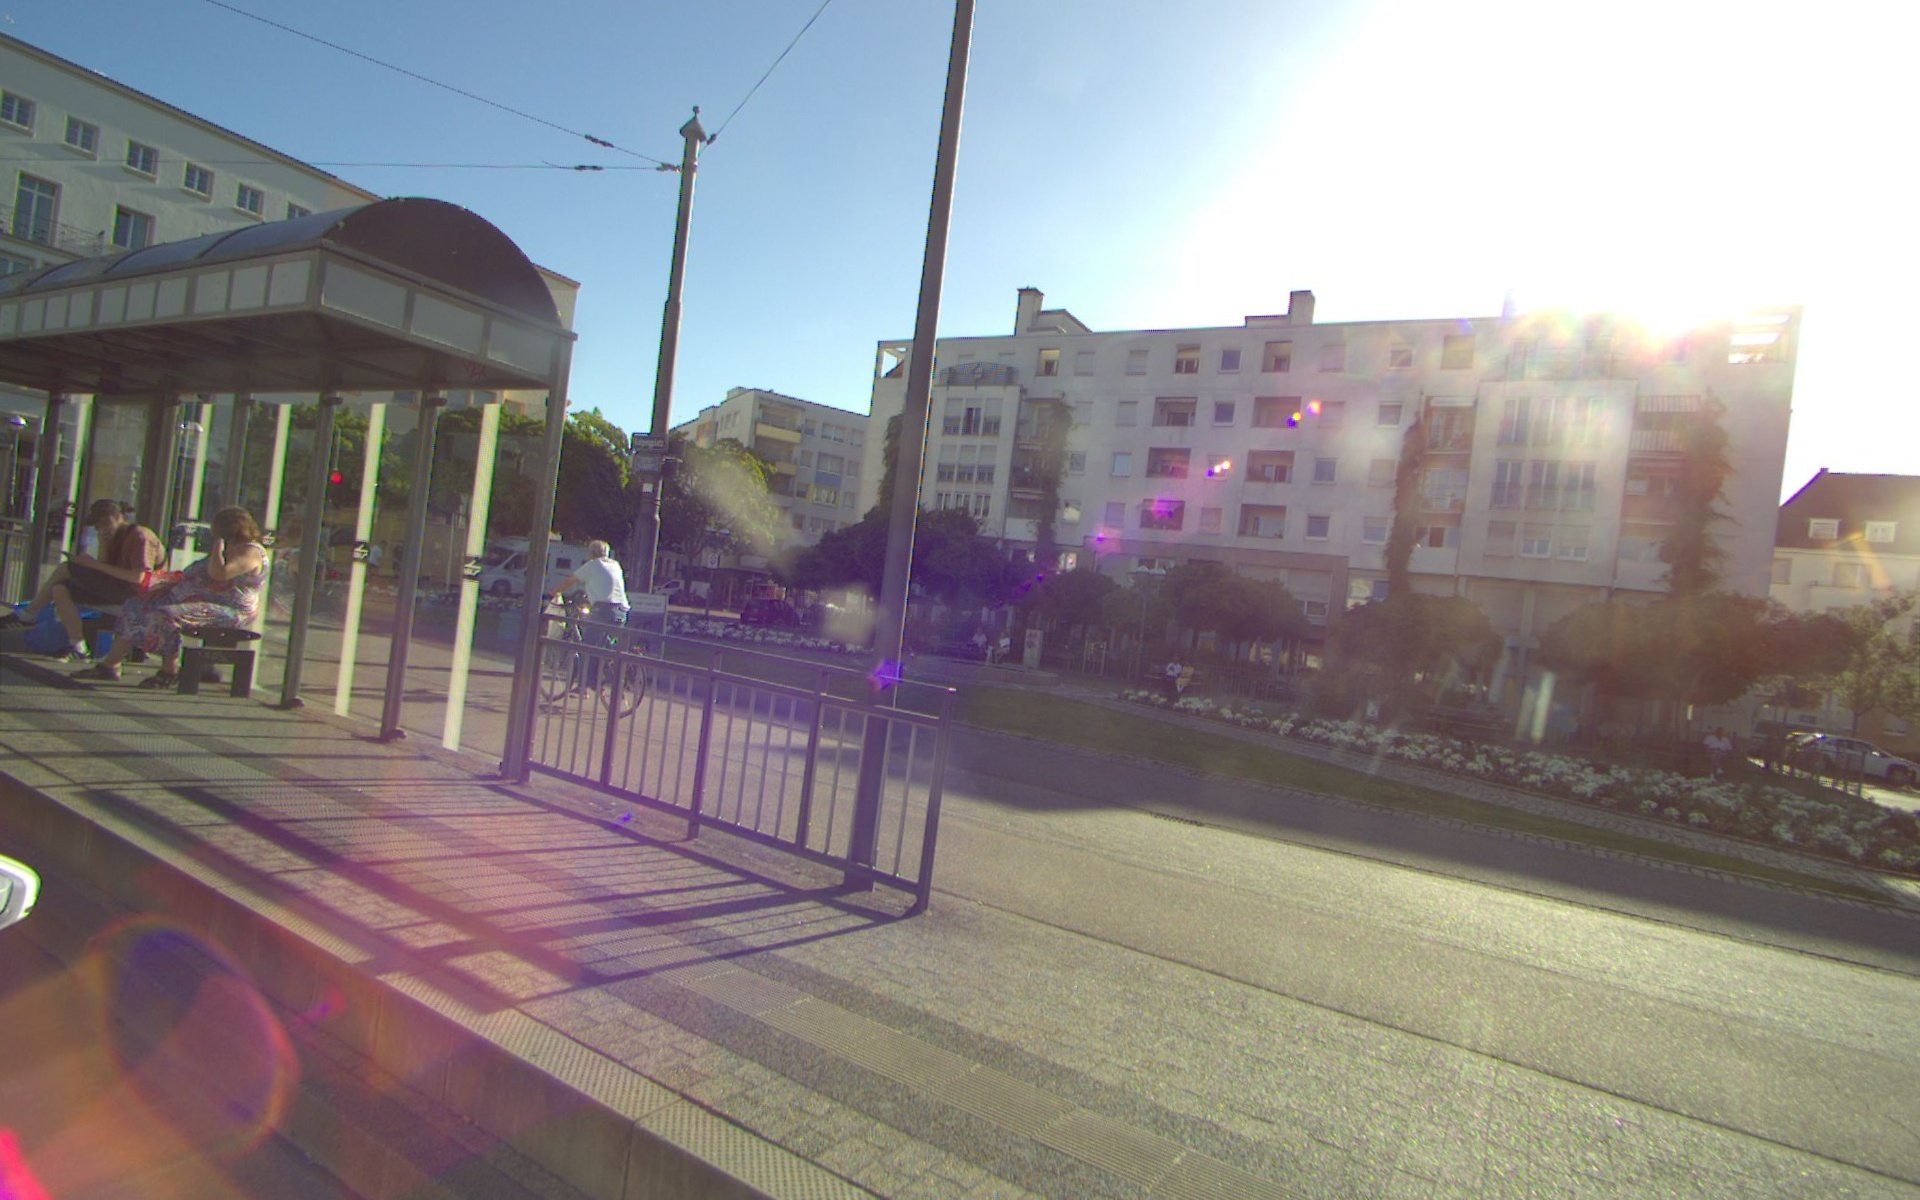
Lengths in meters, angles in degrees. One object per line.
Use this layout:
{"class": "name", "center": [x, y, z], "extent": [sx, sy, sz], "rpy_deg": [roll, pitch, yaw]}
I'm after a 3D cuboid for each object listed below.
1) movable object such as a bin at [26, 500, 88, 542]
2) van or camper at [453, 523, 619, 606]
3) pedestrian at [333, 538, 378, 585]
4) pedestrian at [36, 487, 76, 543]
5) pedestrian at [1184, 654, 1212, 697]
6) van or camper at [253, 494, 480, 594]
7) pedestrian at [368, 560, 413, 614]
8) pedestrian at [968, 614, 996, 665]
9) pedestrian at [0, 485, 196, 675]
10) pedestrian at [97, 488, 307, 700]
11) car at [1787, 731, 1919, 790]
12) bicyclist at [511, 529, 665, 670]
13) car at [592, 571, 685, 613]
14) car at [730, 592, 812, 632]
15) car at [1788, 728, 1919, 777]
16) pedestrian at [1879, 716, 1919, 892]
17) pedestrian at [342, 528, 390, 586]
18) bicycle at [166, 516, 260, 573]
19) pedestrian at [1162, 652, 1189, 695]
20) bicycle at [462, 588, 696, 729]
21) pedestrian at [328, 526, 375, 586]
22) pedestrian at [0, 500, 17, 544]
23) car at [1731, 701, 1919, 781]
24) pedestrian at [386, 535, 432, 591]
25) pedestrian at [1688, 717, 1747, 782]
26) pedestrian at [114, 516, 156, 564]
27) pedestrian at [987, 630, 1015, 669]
{"class": "movable object such as a bin", "center": [-30.613, -2.673, 34.108], "extent": [1.197, 1.167, 1.200], "rpy_deg": [7, -1, 32]}
{"class": "van or camper", "center": [-19.029, -1.524, 45.505], "extent": [2.340, 2.873, 6.410], "rpy_deg": [7, -1, 35]}
{"class": "pedestrian", "center": [-18.377, -1.164, 30.596], "extent": [0.596, 1.295, 0.901], "rpy_deg": [7, 0, 39]}
{"class": "pedestrian", "center": [-32.141, -3.012, 35.762], "extent": [0.667, 1.861, 0.785], "rpy_deg": [7, 0, 35]}
{"class": "pedestrian", "center": [7.738, 2.448, 32.759], "extent": [0.718, 1.287, 0.745], "rpy_deg": [7, 0, 11]}
{"class": "van or camper", "center": [-22.963, -2.074, 39.366], "extent": [2.331, 2.780, 7.131], "rpy_deg": [9, 0, 32]}
{"class": "pedestrian", "center": [-18.276, -0.411, 32.289], "extent": [0.651, 1.605, 0.902], "rpy_deg": [7, 0, 35]}
{"class": "pedestrian", "center": [0.806, 1.438, 36.694], "extent": [0.661, 1.745, 1.028], "rpy_deg": [7, 0, 11]}
{"class": "pedestrian", "center": [-6.694, -0.141, 7.650], "extent": [0.908, 1.238, 1.001], "rpy_deg": [6, -3, 32]}
{"class": "pedestrian", "center": [-5.375, -0.027, 7.165], "extent": [0.613, 1.348, 0.861], "rpy_deg": [6, -3, 32]}
{"class": "car", "center": [34.085, 6.059, 38.184], "extent": [3.941, 1.535, 1.993], "rpy_deg": [7, -1, 38]}
{"class": "bicyclist", "center": [-3.762, 0.012, 10.234], "extent": [0.917, 1.239, 0.954], "rpy_deg": [7, -2, 25]}
{"class": "car", "center": [-16.450, -0.381, 51.548], "extent": [1.974, 1.529, 3.981], "rpy_deg": [6, -3, 43]}
{"class": "car", "center": [-9.282, 0.623, 49.639], "extent": [1.964, 1.503, 4.000], "rpy_deg": [7, -1, 23]}
{"class": "car", "center": [37.345, 6.325, 42.113], "extent": [3.941, 1.303, 1.993], "rpy_deg": [7, -1, 38]}
{"class": "pedestrian", "center": [9.907, 2.062, 9.773], "extent": [0.939, 1.688, 1.070], "rpy_deg": [7, 0, 19]}
{"class": "pedestrian", "center": [-17.832, -1.282, 30.220], "extent": [0.651, 1.605, 0.902], "rpy_deg": [7, 0, 35]}
{"class": "bicycle", "center": [-26.053, -1.912, 35.149], "extent": [0.714, 1.548, 2.391], "rpy_deg": [7, -2, 31]}
{"class": "pedestrian", "center": [7.035, 2.391, 32.896], "extent": [0.718, 1.287, 0.745], "rpy_deg": [7, 0, 11]}
{"class": "bicycle", "center": [-3.887, 0.576, 10.218], "extent": [2.281, 1.073, 0.721], "rpy_deg": [7, -2, 25]}
{"class": "pedestrian", "center": [-18.844, -1.349, 31.155], "extent": [0.685, 1.705, 0.900], "rpy_deg": [7, 0, 41]}
{"class": "pedestrian", "center": [-30.632, -2.510, 31.981], "extent": [0.736, 1.332, 0.622], "rpy_deg": [7, 0, -35]}
{"class": "car", "center": [40.610, 6.532, 47.219], "extent": [6.283, 2.586, 2.813], "rpy_deg": [7, -1, 26]}
{"class": "pedestrian", "center": [-17.032, -1.142, 31.088], "extent": [0.651, 1.605, 0.902], "rpy_deg": [7, 0, 35]}
{"class": "pedestrian", "center": [19.143, 3.759, 25.417], "extent": [0.923, 1.428, 1.520], "rpy_deg": [7, 0, 42]}
{"class": "pedestrian", "center": [-27.400, -1.995, 33.410], "extent": [0.742, 1.427, 0.731], "rpy_deg": [11, 1, 32]}
{"class": "pedestrian", "center": [1.494, 1.787, 36.449], "extent": [0.718, 1.287, 1.042], "rpy_deg": [7, 0, 11]}
